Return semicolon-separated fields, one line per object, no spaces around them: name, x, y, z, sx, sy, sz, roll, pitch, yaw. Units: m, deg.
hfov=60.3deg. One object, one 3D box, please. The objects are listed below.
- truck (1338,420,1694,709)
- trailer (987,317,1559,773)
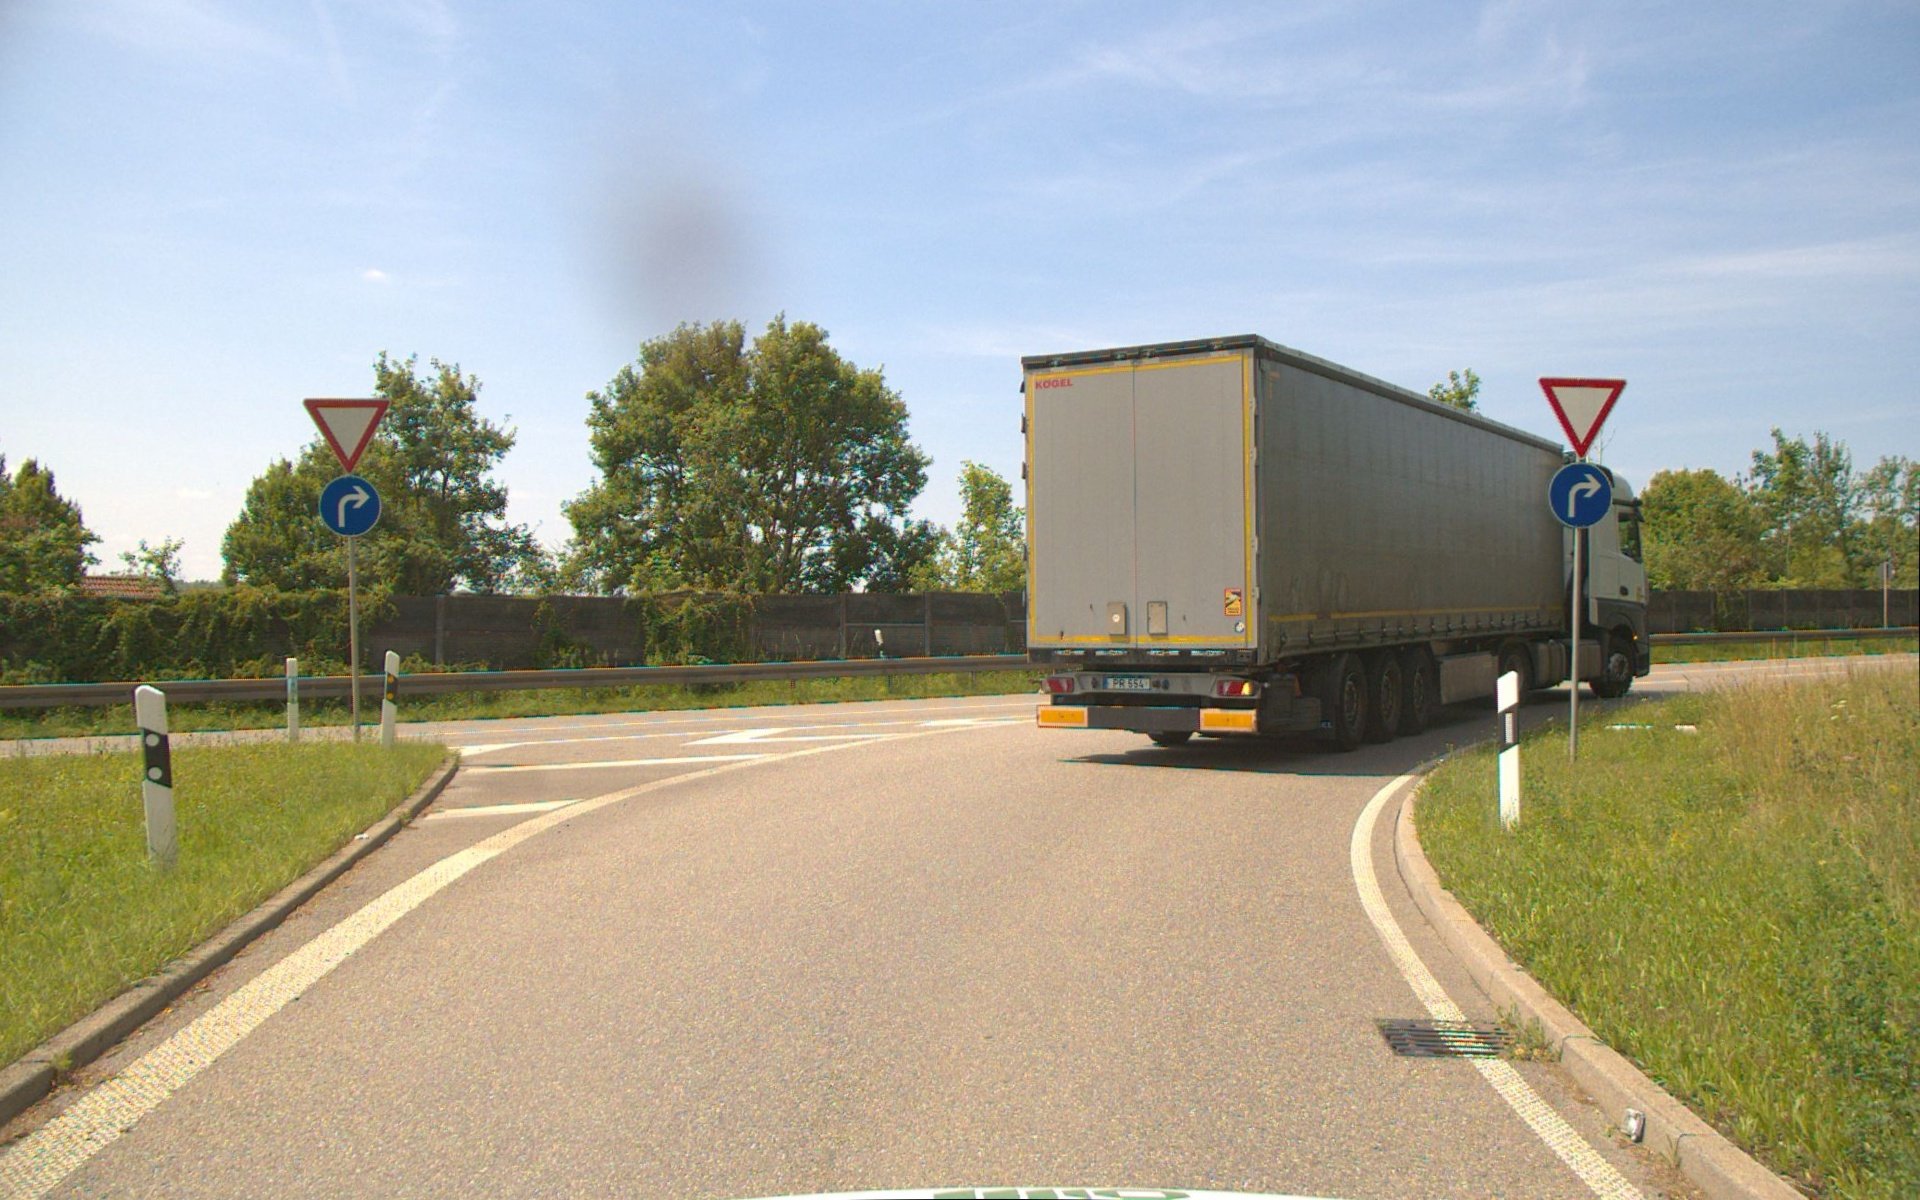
truck;9.628;-0.525;28.190;3.109;4.298;7.075;0;0;43
trailer;4.910;-0.450;21.414;2.971;4.105;13.323;-1;-1;30
